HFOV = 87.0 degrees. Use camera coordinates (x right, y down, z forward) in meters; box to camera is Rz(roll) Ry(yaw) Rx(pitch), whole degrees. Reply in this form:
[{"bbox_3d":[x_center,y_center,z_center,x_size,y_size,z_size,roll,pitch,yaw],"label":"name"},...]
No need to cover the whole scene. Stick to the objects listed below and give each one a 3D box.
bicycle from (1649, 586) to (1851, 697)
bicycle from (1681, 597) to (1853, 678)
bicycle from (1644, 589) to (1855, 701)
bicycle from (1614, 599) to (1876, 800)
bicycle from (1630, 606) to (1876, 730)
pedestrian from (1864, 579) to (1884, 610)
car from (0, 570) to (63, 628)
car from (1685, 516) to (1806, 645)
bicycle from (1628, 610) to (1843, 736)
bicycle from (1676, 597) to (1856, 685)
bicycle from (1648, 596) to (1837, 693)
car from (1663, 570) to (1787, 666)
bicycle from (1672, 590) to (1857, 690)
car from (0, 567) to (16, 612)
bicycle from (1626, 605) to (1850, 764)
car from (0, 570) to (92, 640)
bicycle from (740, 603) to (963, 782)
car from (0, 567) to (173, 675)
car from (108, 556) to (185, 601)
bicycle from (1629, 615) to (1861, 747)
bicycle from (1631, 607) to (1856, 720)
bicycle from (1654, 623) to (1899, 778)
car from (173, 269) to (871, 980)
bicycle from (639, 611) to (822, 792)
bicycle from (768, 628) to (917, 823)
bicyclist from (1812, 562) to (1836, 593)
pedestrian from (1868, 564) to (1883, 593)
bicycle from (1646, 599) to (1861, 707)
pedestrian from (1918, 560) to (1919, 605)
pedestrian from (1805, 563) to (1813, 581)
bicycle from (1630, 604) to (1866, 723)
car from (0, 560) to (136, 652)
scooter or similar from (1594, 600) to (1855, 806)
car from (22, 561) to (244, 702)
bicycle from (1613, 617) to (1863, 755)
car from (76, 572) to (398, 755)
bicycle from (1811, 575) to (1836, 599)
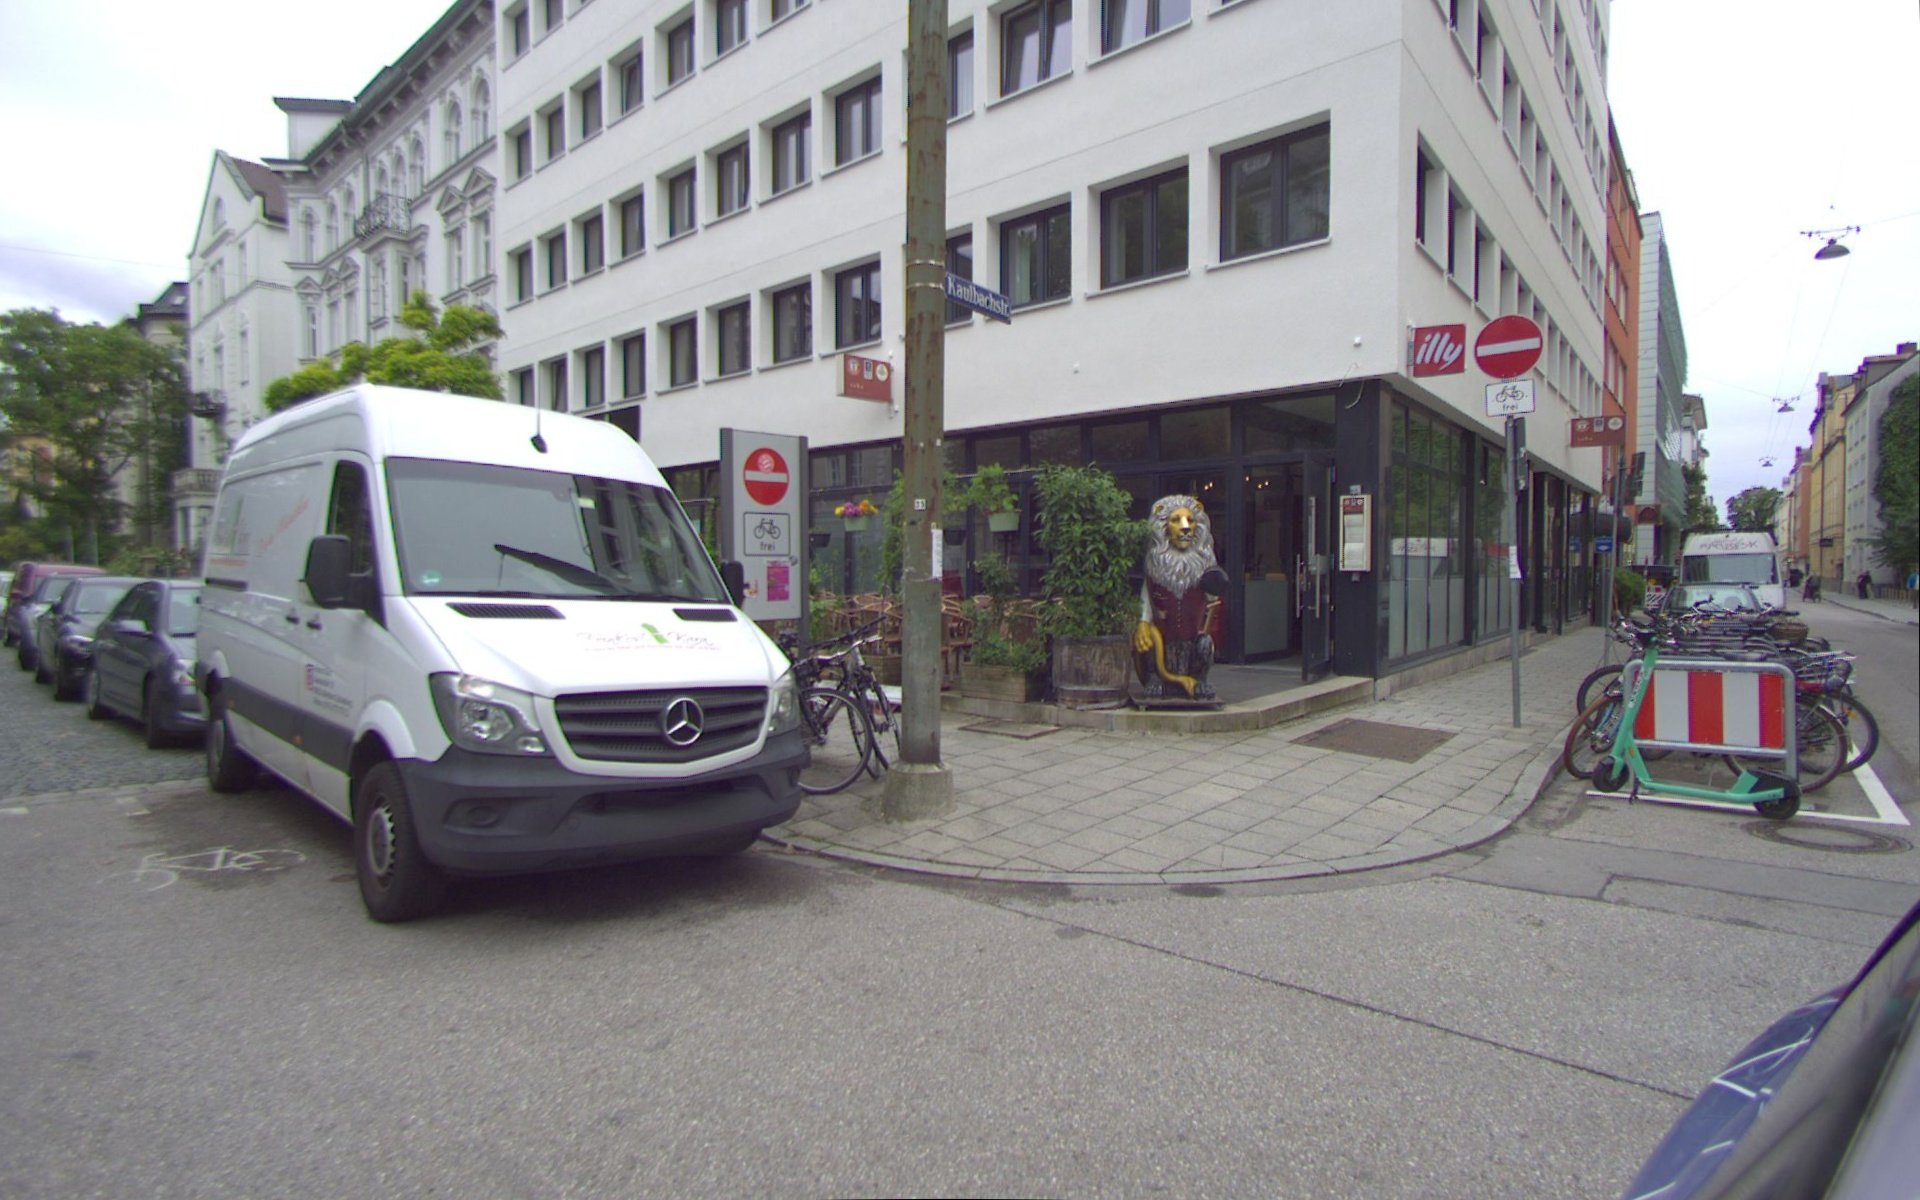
[{"bbox_3d":[9.561,0.462,12.337,1.869,1.219,0.572,2,2,37],"label":"bicycle"},{"bbox_3d":[11.505,0.523,14.503,1.868,1.093,0.482,-2,-1,37],"label":"bicycle"},{"bbox_3d":[9.174,0.483,11.854,1.888,1.184,0.558,2,2,37],"label":"bicycle"},{"bbox_3d":[5.608,0.655,7.300,1.455,1.301,0.439,1,1,40],"label":"bicycle"},{"bbox_3d":[7.745,0.631,9.989,1.868,1.093,0.403,1,0,36],"label":"bicycle"},{"bbox_3d":[55.242,-0.351,61.186,0.774,1.859,0.978,1,2,38],"label":"pedestrian"},{"bbox_3d":[-27.866,-0.070,29.666,4.151,1.611,1.905,1,2,42],"label":"car"},{"bbox_3d":[17.647,-0.456,22.849,1.916,2.537,5.917,0,1,37],"label":"car"},{"bbox_3d":[7.388,0.661,9.722,1.608,1.093,0.373,1,0,36],"label":"bicycle"},{"bbox_3d":[10.872,0.533,13.730,1.869,1.122,0.482,-1,-1,37],"label":"bicycle"},{"bbox_3d":[9.951,0.543,12.952,1.869,1.172,0.557,-1,-1,37],"label":"bicycle"},{"bbox_3d":[13.248,0.221,17.568,1.577,1.482,3.504,1,2,37],"label":"car"},{"bbox_3d":[10.536,0.491,13.341,1.869,1.219,0.482,1,0,37],"label":"bicycle"},{"bbox_3d":[-38.652,-0.415,39.704,4.465,1.704,1.970,1,2,42],"label":"car"},{"bbox_3d":[6.450,0.666,8.472,1.444,1.222,0.391,0,1,32],"label":"bicycle"},{"bbox_3d":[-23.350,0.065,25.398,3.984,1.611,1.838,1,2,41],"label":"car"},{"bbox_3d":[-0.864,0.617,7.597,1.901,1.141,0.583,1,2,44],"label":"bicycle"},{"bbox_3d":[-14.997,0.263,17.295,3.986,1.627,1.836,1,2,43],"label":"car"},{"bbox_3d":[-34.657,-0.925,43.085,3.986,1.838,1.969,1,2,43],"label":"car"},{"bbox_3d":[7.208,0.713,9.379,1.669,1.093,0.332,1,0,36],"label":"bicycle"},{"bbox_3d":[8.374,0.646,10.924,1.868,1.064,0.557,1,3,36],"label":"bicycle"},{"bbox_3d":[6.361,0.748,7.970,1.444,1.083,0.458,0,1,32],"label":"bicycle"},{"bbox_3d":[-3.281,0.036,6.532,5.894,2.624,2.027,1,1,44],"label":"car"},{"bbox_3d":[-1.599,0.639,6.917,1.499,1.085,0.365,1,2,39],"label":"bicycle"},{"bbox_3d":[-0.808,0.785,6.760,0.334,1.141,1.179,-1,2,-44],"label":"bicycle"},{"bbox_3d":[50.028,-1.320,58.597,0.925,1.742,1.084,2,2,38],"label":"bicyclist"},{"bbox_3d":[53.438,-1.249,59.091,0.551,1.680,0.984,1,2,38],"label":"pedestrian"},{"bbox_3d":[8.874,0.559,11.409,1.868,1.109,0.434,1,0,36],"label":"bicycle"},{"bbox_3d":[40.310,-0.740,41.912,0.857,1.867,0.960,0,1,40],"label":"pedestrian"},{"bbox_3d":[86.342,-2.871,102.923,0.491,1.847,0.545,1,2,38],"label":"pedestrian"},{"bbox_3d":[7.982,0.608,10.354,1.868,1.093,0.397,1,0,36],"label":"bicycle"},{"bbox_3d":[-19.122,0.062,21.477,3.984,1.763,1.906,1,2,41],"label":"car"},{"bbox_3d":[5.047,0.626,6.743,1.351,1.225,0.411,1,2,41],"label":"scooter or similar"},{"bbox_3d":[-11.172,0.323,13.563,4.239,1.588,1.783,1,1,44],"label":"car"},{"bbox_3d":[6.914,0.725,9.092,1.735,1.093,0.446,1,0,36],"label":"bicycle"},{"bbox_3d":[-7.318,0.482,10.096,3.984,1.466,1.768,1,0,42],"label":"car"},{"bbox_3d":[50.334,-0.762,59.012,0.930,1.272,2.381,2,3,38],"label":"bicycle"}]
